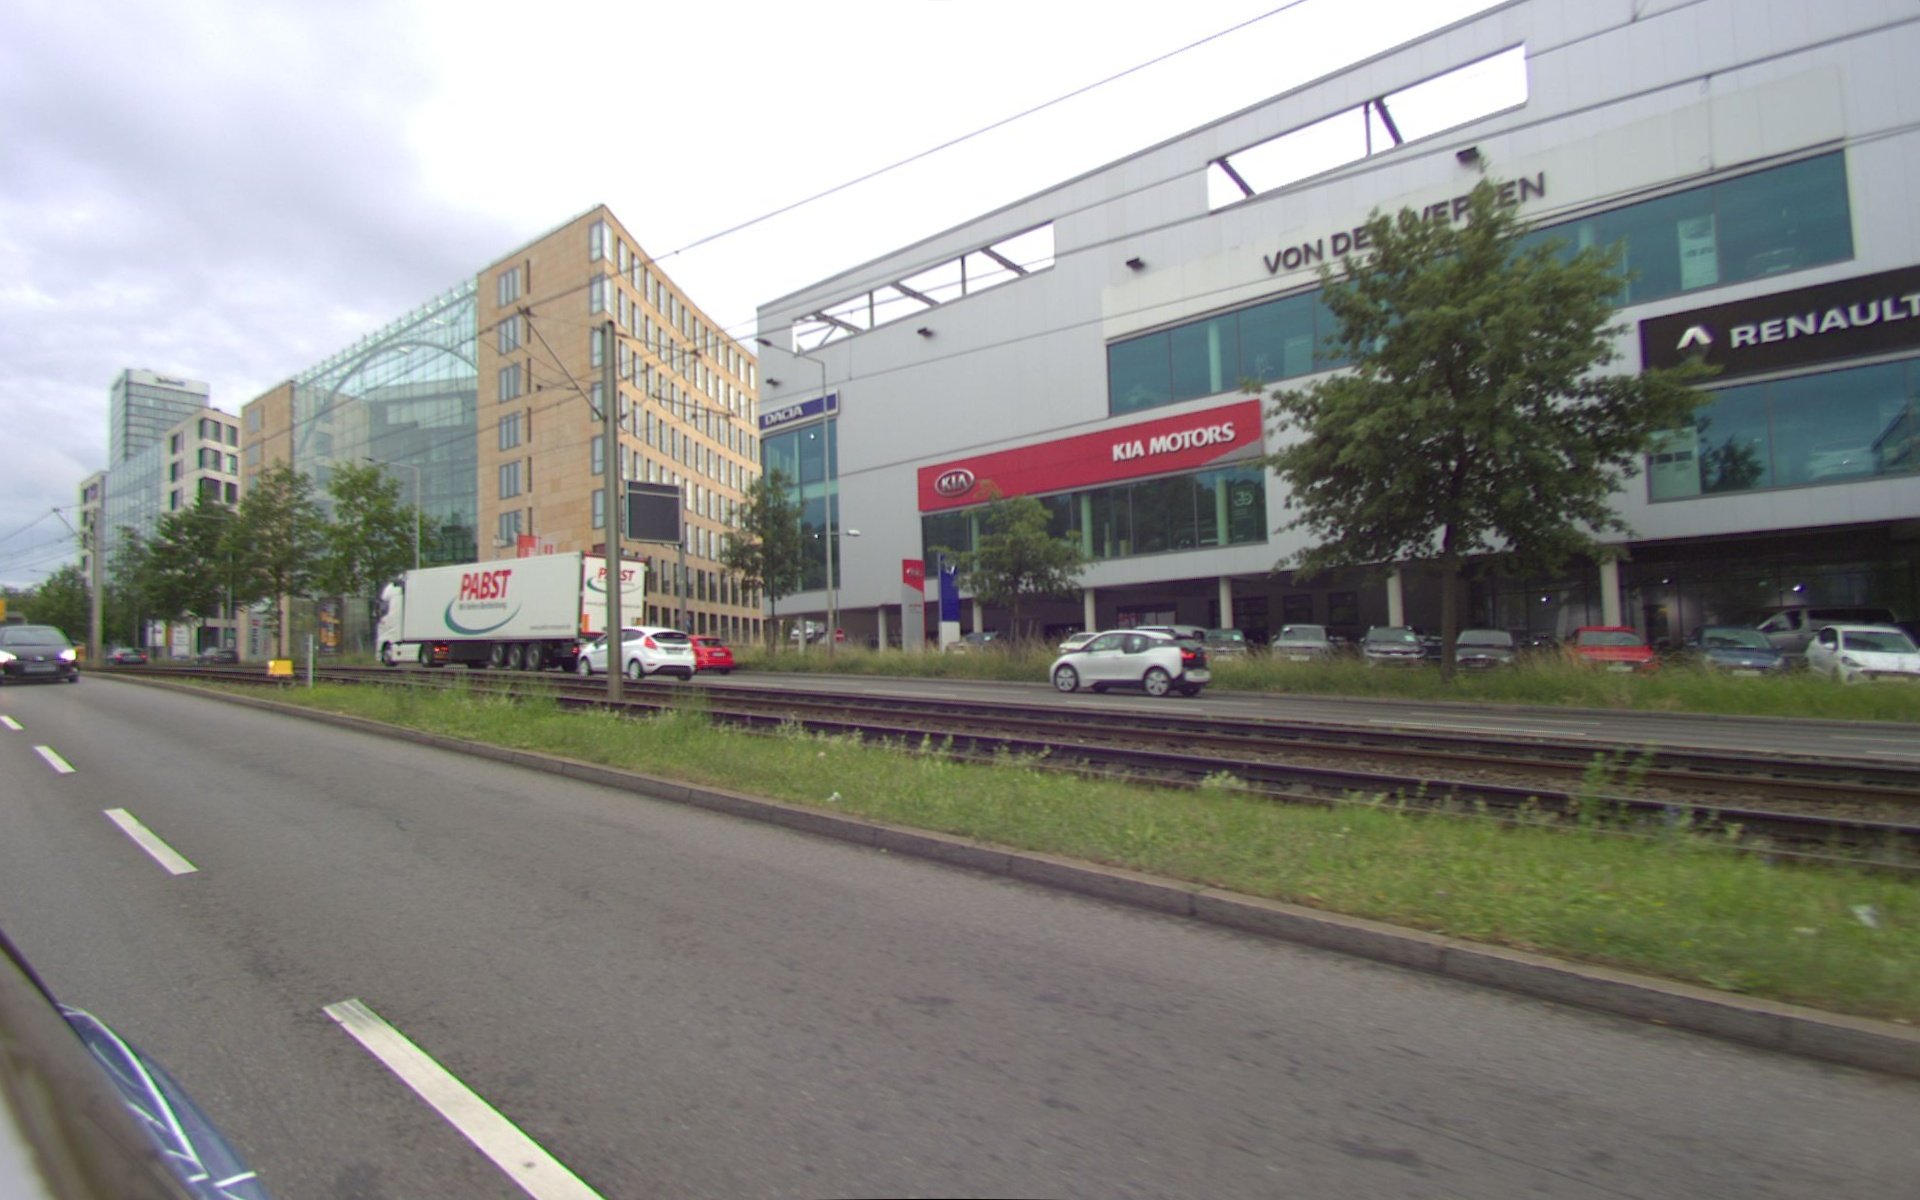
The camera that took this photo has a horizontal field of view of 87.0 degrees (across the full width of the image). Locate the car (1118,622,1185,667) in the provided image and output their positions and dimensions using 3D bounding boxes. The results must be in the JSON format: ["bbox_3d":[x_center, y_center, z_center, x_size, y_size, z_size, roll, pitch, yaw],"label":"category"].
[{"bbox_3d":[6.762,1.532,35.451,1.686,1.304,3.640,-2,1,20],"label":"car"}]

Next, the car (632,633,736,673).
[{"bbox_3d":[-10.104,1.897,36.928,4.021,1.380,1.667,-2,-1,39],"label":"car"}]

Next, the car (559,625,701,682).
[{"bbox_3d":[-9.017,1.436,27.541,4.094,1.447,1.667,-1,-4,39],"label":"car"}]

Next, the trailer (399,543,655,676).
[{"bbox_3d":[-16.854,0.530,38.560,13.268,4.363,3.102,-2,-4,40],"label":"trailer"}]

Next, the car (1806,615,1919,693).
[{"bbox_3d":[21.096,1.184,23.313,1.916,1.470,4.002,-1,1,32],"label":"car"}]

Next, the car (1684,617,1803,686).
[{"bbox_3d":[19.282,1.207,25.075,1.916,1.362,4.002,-1,1,32],"label":"car"}]

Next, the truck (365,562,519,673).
[{"bbox_3d":[-21.840,0.833,42.541,7.021,4.276,3.104,-2,-4,40],"label":"truck"}]

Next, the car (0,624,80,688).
[{"bbox_3d":[-24.435,1.409,26.408,3.824,1.544,1.682,-1,-1,41],"label":"car"}]

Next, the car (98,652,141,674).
[{"bbox_3d":[-60.652,4.499,73.000,4.096,1.447,1.667,-2,-1,40],"label":"car"}]

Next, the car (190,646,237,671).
[{"bbox_3d":[-52.045,4.045,70.509,3.993,1.630,1.611,-2,-1,37],"label":"car"}]

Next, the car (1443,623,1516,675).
[{"bbox_3d":[14.568,1.353,28.528,1.690,1.190,3.495,-2,1,26],"label":"car"}]

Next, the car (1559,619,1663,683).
[{"bbox_3d":[16.997,1.285,26.595,1.790,1.362,3.900,-2,1,26],"label":"car"}]

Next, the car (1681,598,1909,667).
[{"bbox_3d":[23.283,0.900,28.386,4.491,1.796,1.996,-1,-1,7],"label":"car"}]

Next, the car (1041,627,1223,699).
[{"bbox_3d":[4.144,1.479,24.694,4.096,1.593,1.667,-2,-1,40],"label":"car"}]

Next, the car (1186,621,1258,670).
[{"bbox_3d":[8.701,1.478,33.449,1.689,1.362,3.497,-2,1,25],"label":"car"}]

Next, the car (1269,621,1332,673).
[{"bbox_3d":[10.829,1.457,32.056,1.687,1.362,3.501,-2,1,22],"label":"car"}]

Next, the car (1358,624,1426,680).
[{"bbox_3d":[12.872,1.504,30.050,1.690,1.362,3.495,-2,1,26],"label":"car"}]

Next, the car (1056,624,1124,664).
[{"bbox_3d":[4.831,1.601,37.197,1.686,1.196,3.640,-2,1,20],"label":"car"}]
